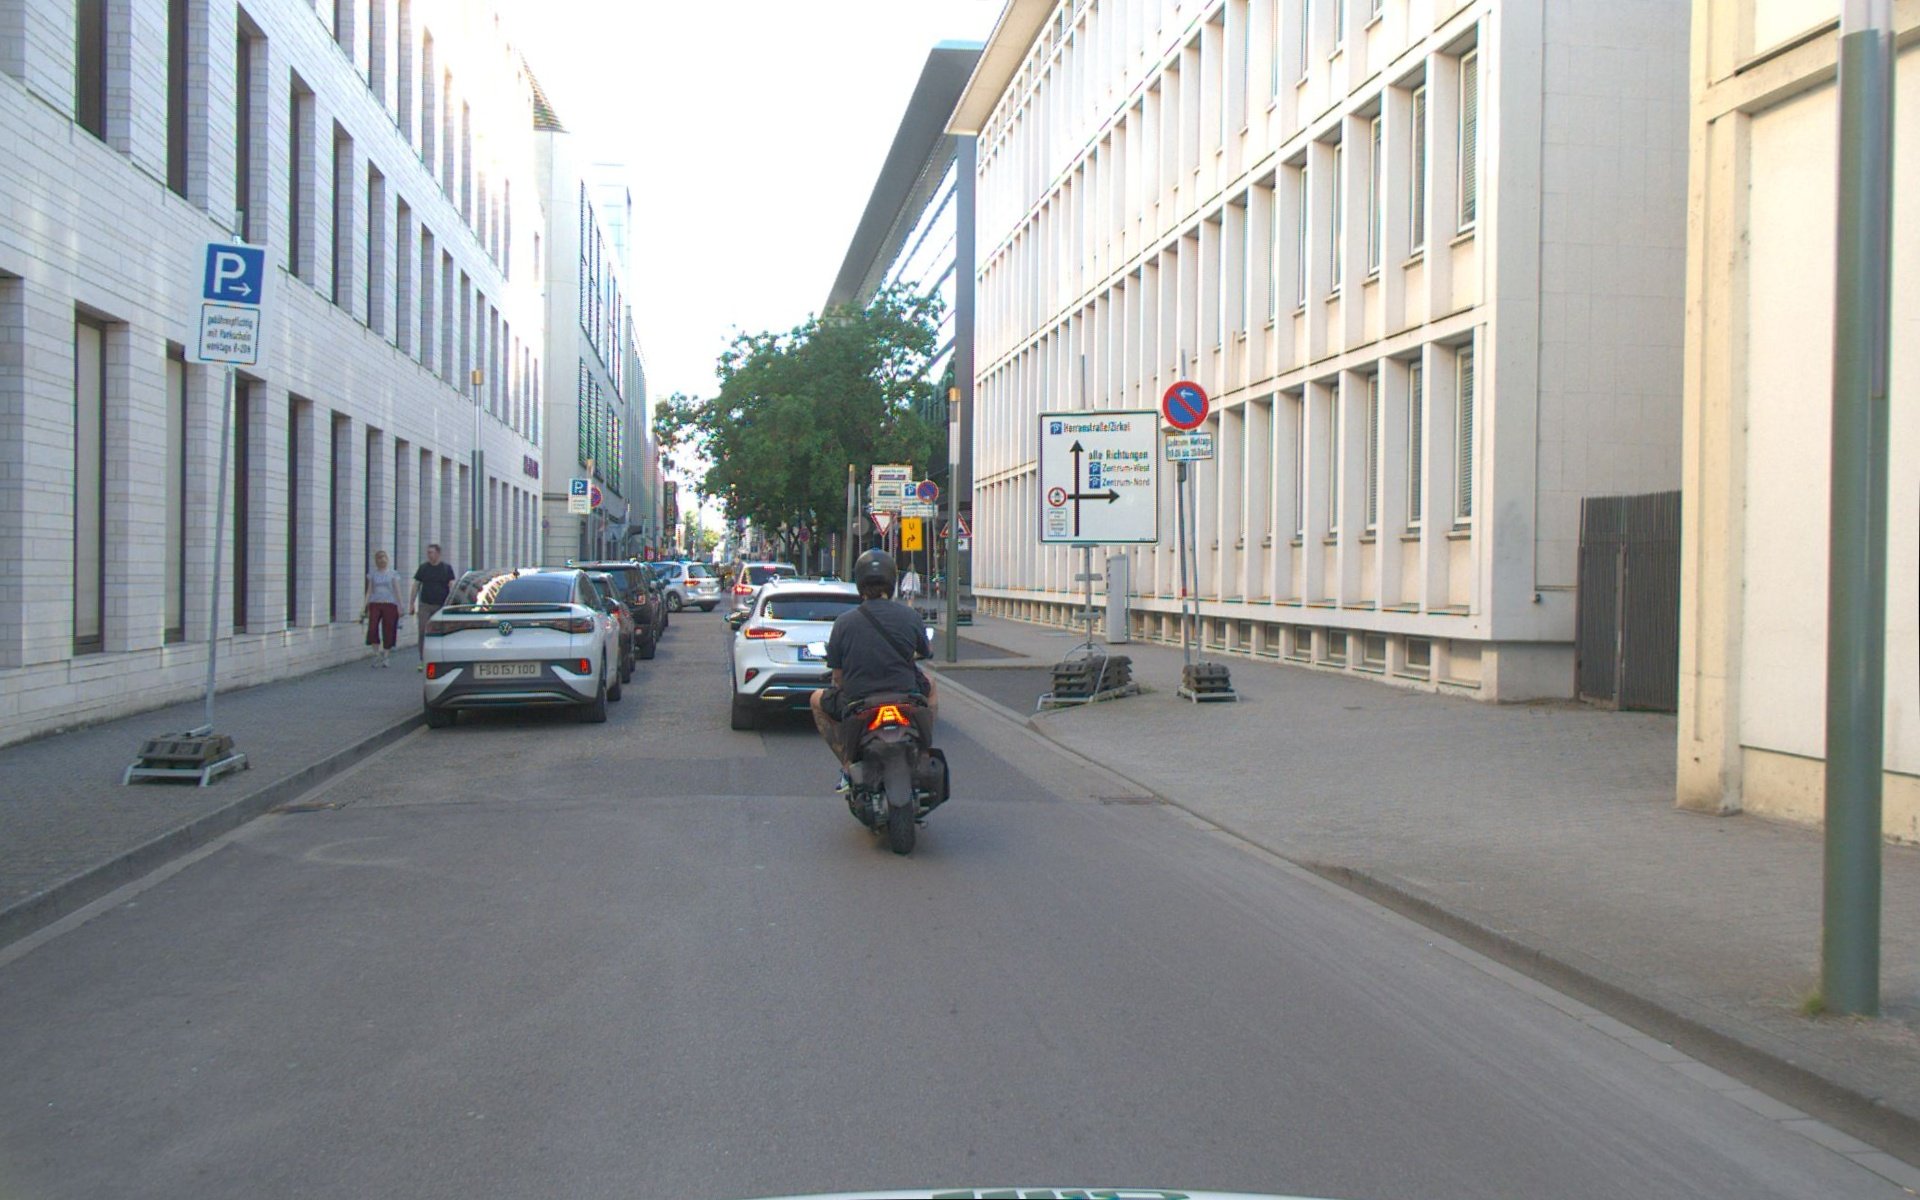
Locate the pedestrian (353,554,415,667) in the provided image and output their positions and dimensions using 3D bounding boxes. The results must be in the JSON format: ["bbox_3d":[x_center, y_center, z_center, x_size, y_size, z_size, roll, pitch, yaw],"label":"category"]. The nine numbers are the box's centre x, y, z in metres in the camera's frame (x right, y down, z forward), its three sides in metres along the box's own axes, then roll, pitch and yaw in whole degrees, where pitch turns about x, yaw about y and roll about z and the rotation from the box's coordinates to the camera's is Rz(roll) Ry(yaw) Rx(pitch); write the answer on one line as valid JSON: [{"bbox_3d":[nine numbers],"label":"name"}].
[{"bbox_3d":[-8.541,0.144,24.541,0.691,1.641,0.859,0,1,-8],"label":"pedestrian"}]

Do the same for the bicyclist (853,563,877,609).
[{"bbox_3d":[-3.601,-0.542,62.504,0.731,1.736,0.738,0,1,13],"label":"bicyclist"}]

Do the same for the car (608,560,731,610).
[{"bbox_3d":[-9.739,-0.503,55.409,3.920,1.624,1.898,1,1,36],"label":"car"}]

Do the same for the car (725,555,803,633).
[{"bbox_3d":[-5.083,-0.183,42.579,1.889,1.889,3.993,-1,1,-8],"label":"car"}]

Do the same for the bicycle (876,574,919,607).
[{"bbox_3d":[-2.404,-0.374,63.599,1.530,1.271,0.552,0,1,12],"label":"bicycle"}]

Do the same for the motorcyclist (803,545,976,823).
[{"bbox_3d":[-0.463,0.469,10.155,0.936,1.587,1.237,0,1,-8],"label":"motorcyclist"}]

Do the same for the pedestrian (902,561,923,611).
[{"bbox_3d":[-1.563,-0.458,54.398,0.630,1.629,0.619,0,1,-6],"label":"pedestrian"}]

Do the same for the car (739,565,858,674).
[{"bbox_3d":[-2.649,0.247,26.503,1.740,1.577,4.100,-1,1,-8],"label":"car"}]

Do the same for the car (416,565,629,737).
[{"bbox_3d":[-4.705,0.449,18.340,1.777,1.634,4.260,-1,1,-8],"label":"car"}]

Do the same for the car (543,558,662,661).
[{"bbox_3d":[-6.276,0.127,29.343,1.777,1.674,3.509,-1,1,-8],"label":"car"}]

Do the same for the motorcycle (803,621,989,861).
[{"bbox_3d":[-0.467,0.780,10.277,0.889,1.204,2.574,0,1,-8],"label":"motorcycle"}]

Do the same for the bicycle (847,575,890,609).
[{"bbox_3d":[-3.464,-0.299,62.434,1.530,1.271,0.552,0,1,12],"label":"bicycle"}]

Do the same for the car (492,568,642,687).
[{"bbox_3d":[-5.639,0.338,24.092,1.777,1.554,3.509,-1,1,-8],"label":"car"}]

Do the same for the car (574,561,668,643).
[{"bbox_3d":[-7.251,0.001,35.630,1.743,1.634,3.509,-1,1,-8],"label":"car"}]

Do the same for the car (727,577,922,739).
[{"bbox_3d":[-1.479,0.536,17.864,1.823,1.498,3.996,2,1,-5],"label":"car"}]

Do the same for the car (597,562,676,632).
[{"bbox_3d":[-8.082,-0.116,41.521,1.743,1.634,3.509,-1,1,-8],"label":"car"}]

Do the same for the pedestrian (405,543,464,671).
[{"bbox_3d":[-7.624,0.089,24.032,0.691,1.817,0.726,0,1,-8],"label":"pedestrian"}]

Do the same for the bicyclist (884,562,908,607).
[{"bbox_3d":[-2.464,-0.594,63.617,0.731,1.736,0.738,0,1,13],"label":"bicyclist"}]
